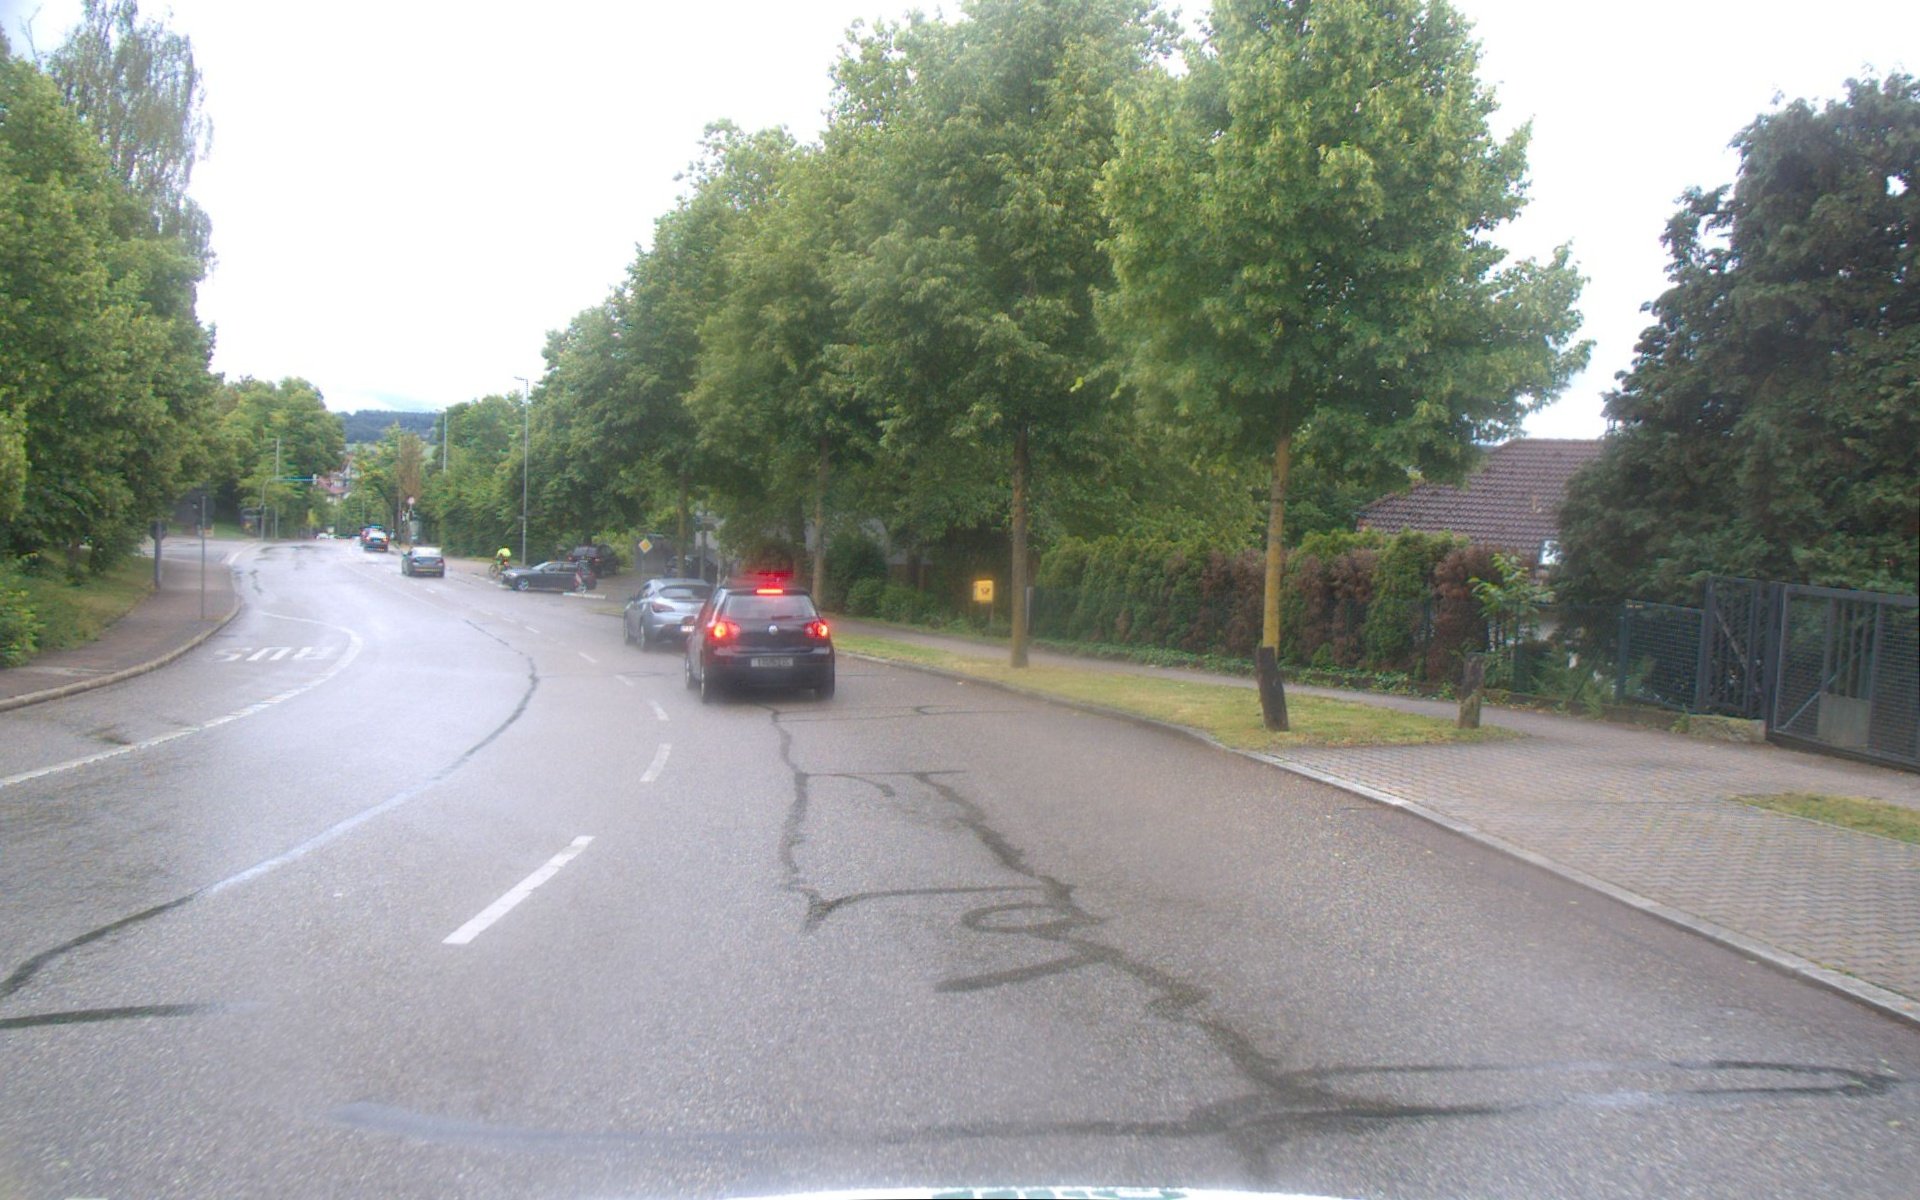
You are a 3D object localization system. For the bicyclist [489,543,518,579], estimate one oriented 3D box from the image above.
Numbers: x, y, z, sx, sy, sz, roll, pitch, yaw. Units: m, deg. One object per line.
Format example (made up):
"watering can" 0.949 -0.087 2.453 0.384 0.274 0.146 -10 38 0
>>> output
"bicyclist" -22.991 -1.960 83.244 1.263 1.786 0.849 2 1 41

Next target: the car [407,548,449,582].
"car" -26.885 -1.768 83.481 1.697 1.489 3.975 5 1 -21

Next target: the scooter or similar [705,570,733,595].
"scooter or similar" -12.541 -0.900 86.095 1.321 1.308 0.556 0 2 -30

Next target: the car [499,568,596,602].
"car" -18.954 -0.682 76.017 4.076 1.408 1.712 1 0 -27

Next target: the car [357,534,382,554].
"car" -48.168 -4.561 134.812 1.697 1.489 3.975 5 1 -21

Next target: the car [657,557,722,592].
"car" -14.303 -1.396 87.788 1.714 1.494 4.571 5 5 13

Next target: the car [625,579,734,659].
"car" -5.990 0.365 34.977 1.727 1.489 3.981 1 2 -18

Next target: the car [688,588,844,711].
"car" -2.713 0.605 22.425 1.691 1.489 3.987 1 0 -13

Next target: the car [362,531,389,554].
"car" -42.702 -4.204 120.801 1.697 1.489 3.975 5 1 -21

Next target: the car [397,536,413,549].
"car" -64.396 -6.651 191.834 1.696 1.489 3.979 0 2 -19

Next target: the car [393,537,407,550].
"car" -69.732 -7.042 205.927 1.696 1.489 3.979 0 2 -19

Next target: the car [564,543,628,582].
"car" -19.400 -2.026 88.338 1.907 1.718 4.908 4 4 4

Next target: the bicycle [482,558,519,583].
"bicycle" -23.182 -1.495 83.415 2.001 1.175 0.849 2 1 42
